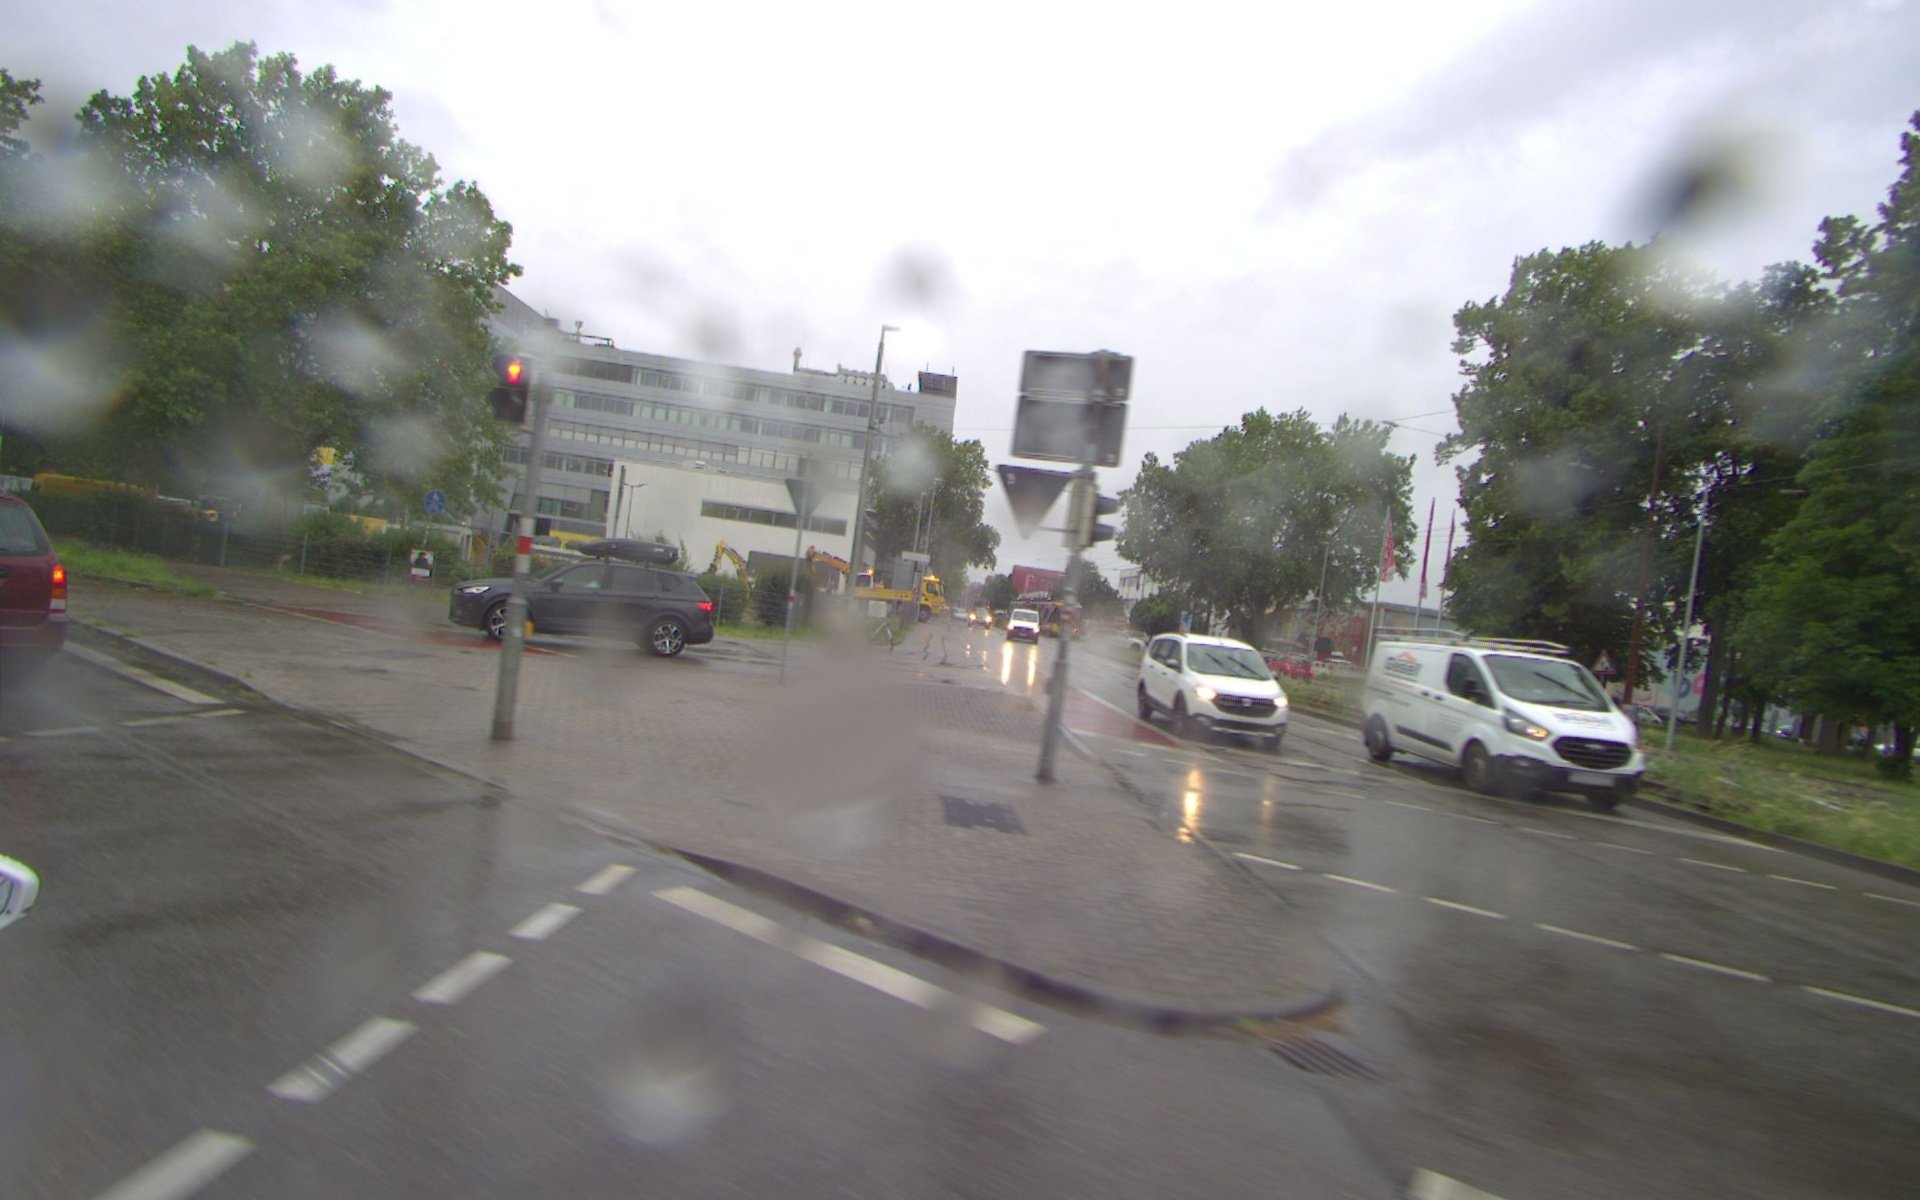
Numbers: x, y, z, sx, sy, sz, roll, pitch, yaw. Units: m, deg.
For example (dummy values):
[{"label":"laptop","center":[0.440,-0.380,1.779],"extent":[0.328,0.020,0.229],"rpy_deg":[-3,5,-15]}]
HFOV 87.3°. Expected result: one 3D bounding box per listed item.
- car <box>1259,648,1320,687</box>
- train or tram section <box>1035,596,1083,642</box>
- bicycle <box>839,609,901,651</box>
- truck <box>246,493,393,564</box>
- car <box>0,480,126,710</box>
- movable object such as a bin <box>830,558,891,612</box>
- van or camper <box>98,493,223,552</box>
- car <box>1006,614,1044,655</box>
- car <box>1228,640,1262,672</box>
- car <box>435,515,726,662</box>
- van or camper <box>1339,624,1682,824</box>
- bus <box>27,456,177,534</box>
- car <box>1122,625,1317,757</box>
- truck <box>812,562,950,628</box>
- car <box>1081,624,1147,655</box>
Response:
[{"label":"car","center":[18.292,3.730,55.959],"extent":[1.775,1.799,3.782],"rpy_deg":[7,-2,-3]},{"label":"train or tram section","center":[8.575,1.683,88.463],"extent":[2.358,3.560,8.371],"rpy_deg":[7,-2,-4]},{"label":"bicycle","center":[-2.739,0.913,30.668],"extent":[1.611,1.051,0.804],"rpy_deg":[7,1,-36]},{"label":"truck","center":[-39.827,-4.292,63.079],"extent":[3.025,3.066,9.505],"rpy_deg":[7,-2,-2]},{"label":"car","center":[-8.383,-0.284,7.713],"extent":[4.045,1.554,1.842],"rpy_deg":[7,-2,33]},{"label":"movable object such as a bin","center":[-7.766,-1.207,78.175],"extent":[3.564,3.670,3.303],"rpy_deg":[7,0,-21]},{"label":"van or camper","center":[-36.761,-3.547,46.369],"extent":[1.771,1.929,3.997],"rpy_deg":[8,-1,30]},{"label":"car","center":[3.871,2.087,60.286],"extent":[1.962,2.114,4.233],"rpy_deg":[7,-2,3]},{"label":"car","center":[19.131,3.777,67.418],"extent":[1.774,1.799,3.785],"rpy_deg":[7,-2,20]},{"label":"car","center":[-7.061,-0.171,18.835],"extent":[4.704,2.081,1.917],"rpy_deg":[7,0,-30]},{"label":"van or camper","center":[7.699,1.587,14.818],"extent":[1.835,2.114,4.904],"rpy_deg":[7,0,-4]},{"label":"bus","center":[-40.007,-4.850,47.011],"extent":[1.968,2.678,4.797],"rpy_deg":[8,-1,35]},{"label":"car","center":[4.389,1.479,17.823],"extent":[1.835,1.693,4.457],"rpy_deg":[7,0,-4]},{"label":"truck","center":[-5.556,-0.320,71.819],"extent":[9.298,3.384,2.497],"rpy_deg":[8,-1,-2]},{"label":"car","center":[11.160,2.872,73.105],"extent":[4.538,1.617,1.846],"rpy_deg":[8,0,5]}]
